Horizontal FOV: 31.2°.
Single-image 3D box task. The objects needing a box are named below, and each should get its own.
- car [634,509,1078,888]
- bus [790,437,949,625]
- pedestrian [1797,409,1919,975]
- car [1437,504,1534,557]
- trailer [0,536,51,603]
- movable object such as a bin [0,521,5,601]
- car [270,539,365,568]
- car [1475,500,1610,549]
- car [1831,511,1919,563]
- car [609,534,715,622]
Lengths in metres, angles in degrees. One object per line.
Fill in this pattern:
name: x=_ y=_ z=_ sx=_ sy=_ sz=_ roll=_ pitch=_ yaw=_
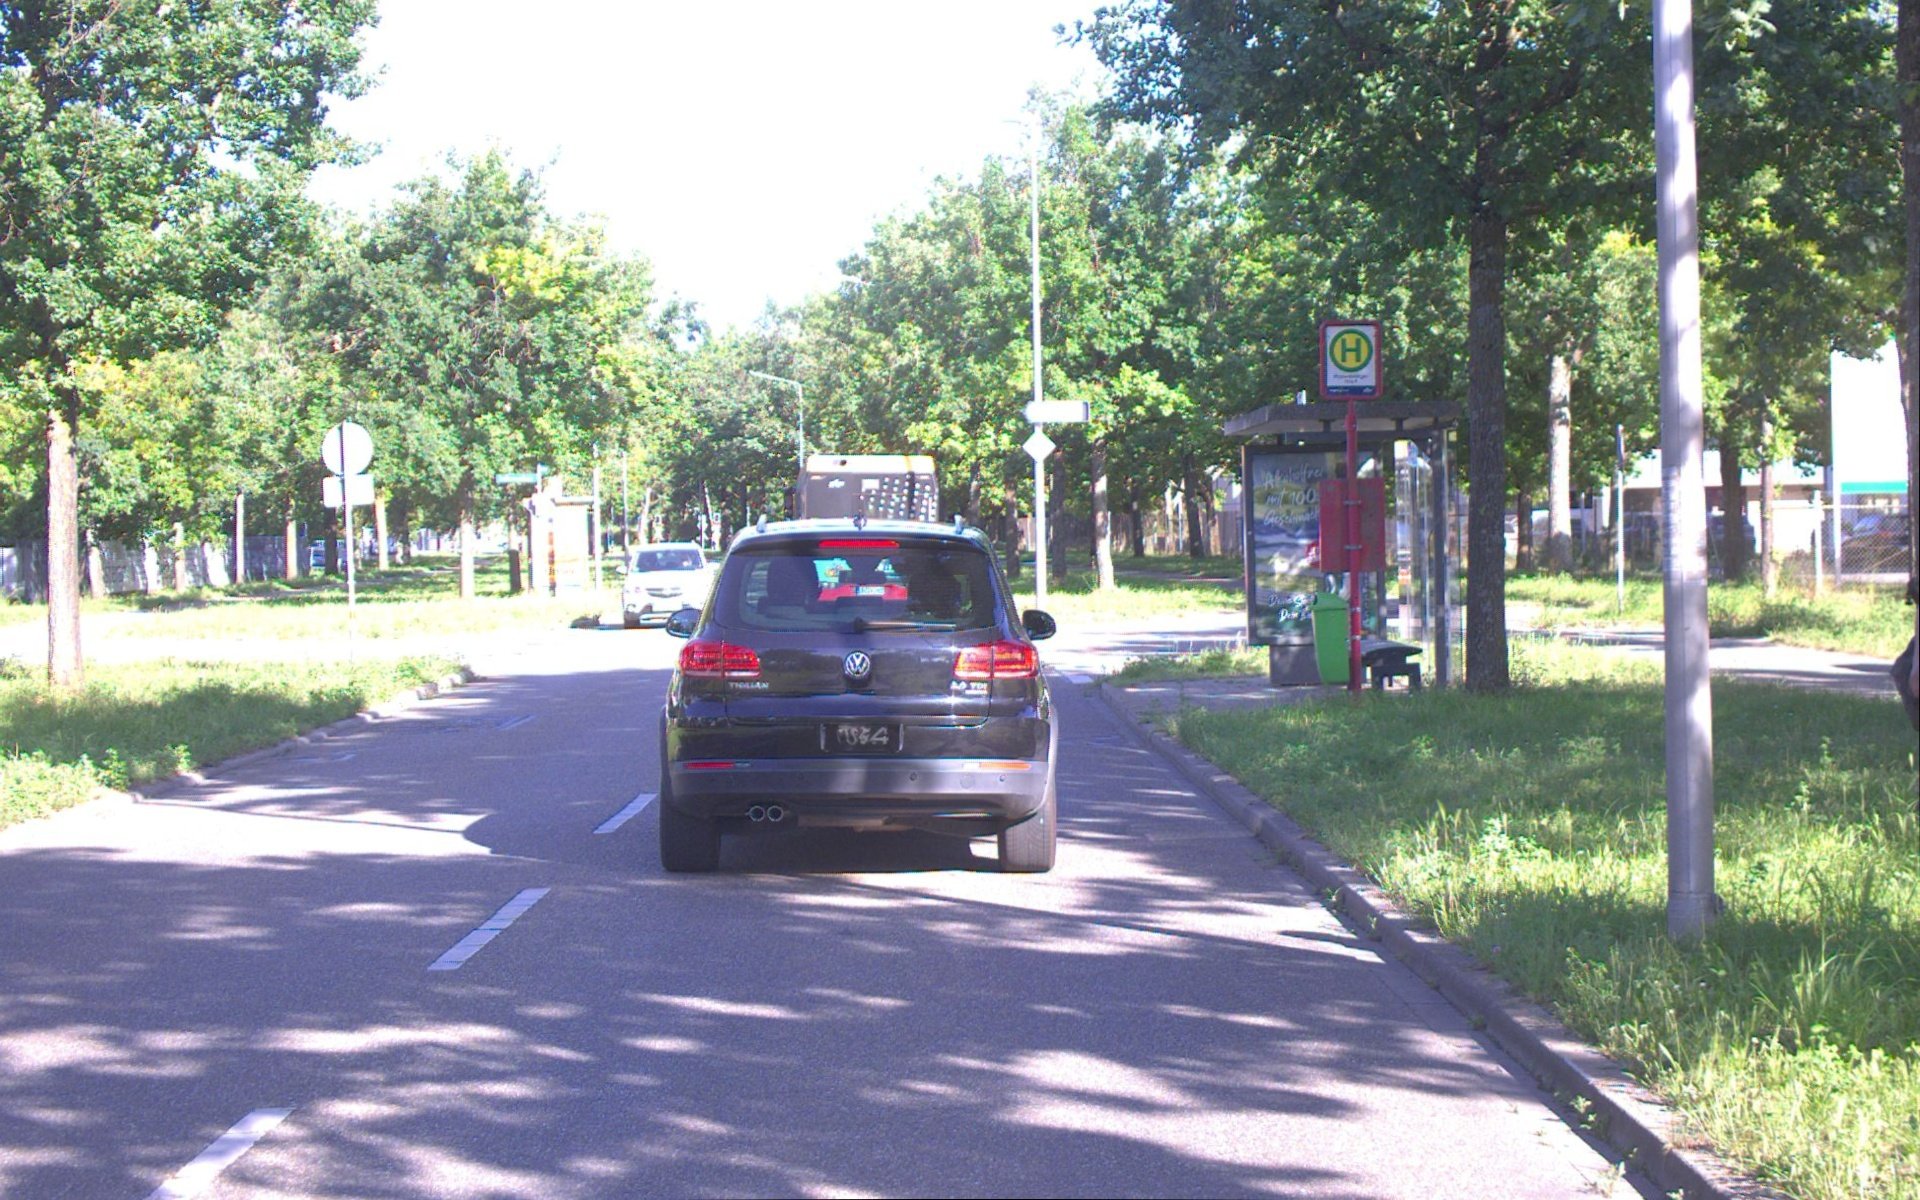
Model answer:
car: x=-0.475 y=0.377 z=17.293 sx=1.936 sy=1.650 sz=4.427 roll=0 pitch=1 yaw=0
bus: x=-1.952 y=-1.410 z=69.433 sx=2.764 sy=3.444 sz=11.213 roll=-1 pitch=1 yaw=-3
pedestrian: x=3.234 y=0.247 z=10.561 sx=1.019 sy=1.646 sz=1.100 roll=-1 pitch=1 yaw=0
car: x=17.941 y=-2.369 z=117.534 sx=2.184 sy=1.738 sz=4.643 roll=-1 pitch=1 yaw=-5
trailer: x=-28.048 y=-0.891 z=100.389 sx=2.102 sy=1.908 sz=3.741 roll=-1 pitch=1 yaw=-2
movable object such as a bin: x=-27.537 y=-1.026 z=93.263 sx=2.102 sy=2.209 sz=4.461 roll=-1 pitch=1 yaw=-2
car: x=-31.264 y=-2.248 z=167.439 sx=4.198 sy=1.317 sz=1.941 roll=-1 pitch=1 yaw=1
car: x=22.236 y=-2.883 z=131.319 sx=4.625 sy=1.738 sz=2.192 roll=-1 pitch=1 yaw=-10
car: x=25.942 y=-1.779 z=96.304 sx=1.764 sy=1.379 sz=3.768 roll=-1 pitch=1 yaw=-6
car: x=-5.360 y=-0.422 z=62.225 sx=1.744 sy=1.460 sz=4.428 roll=-2 pitch=1 yaw=-3
